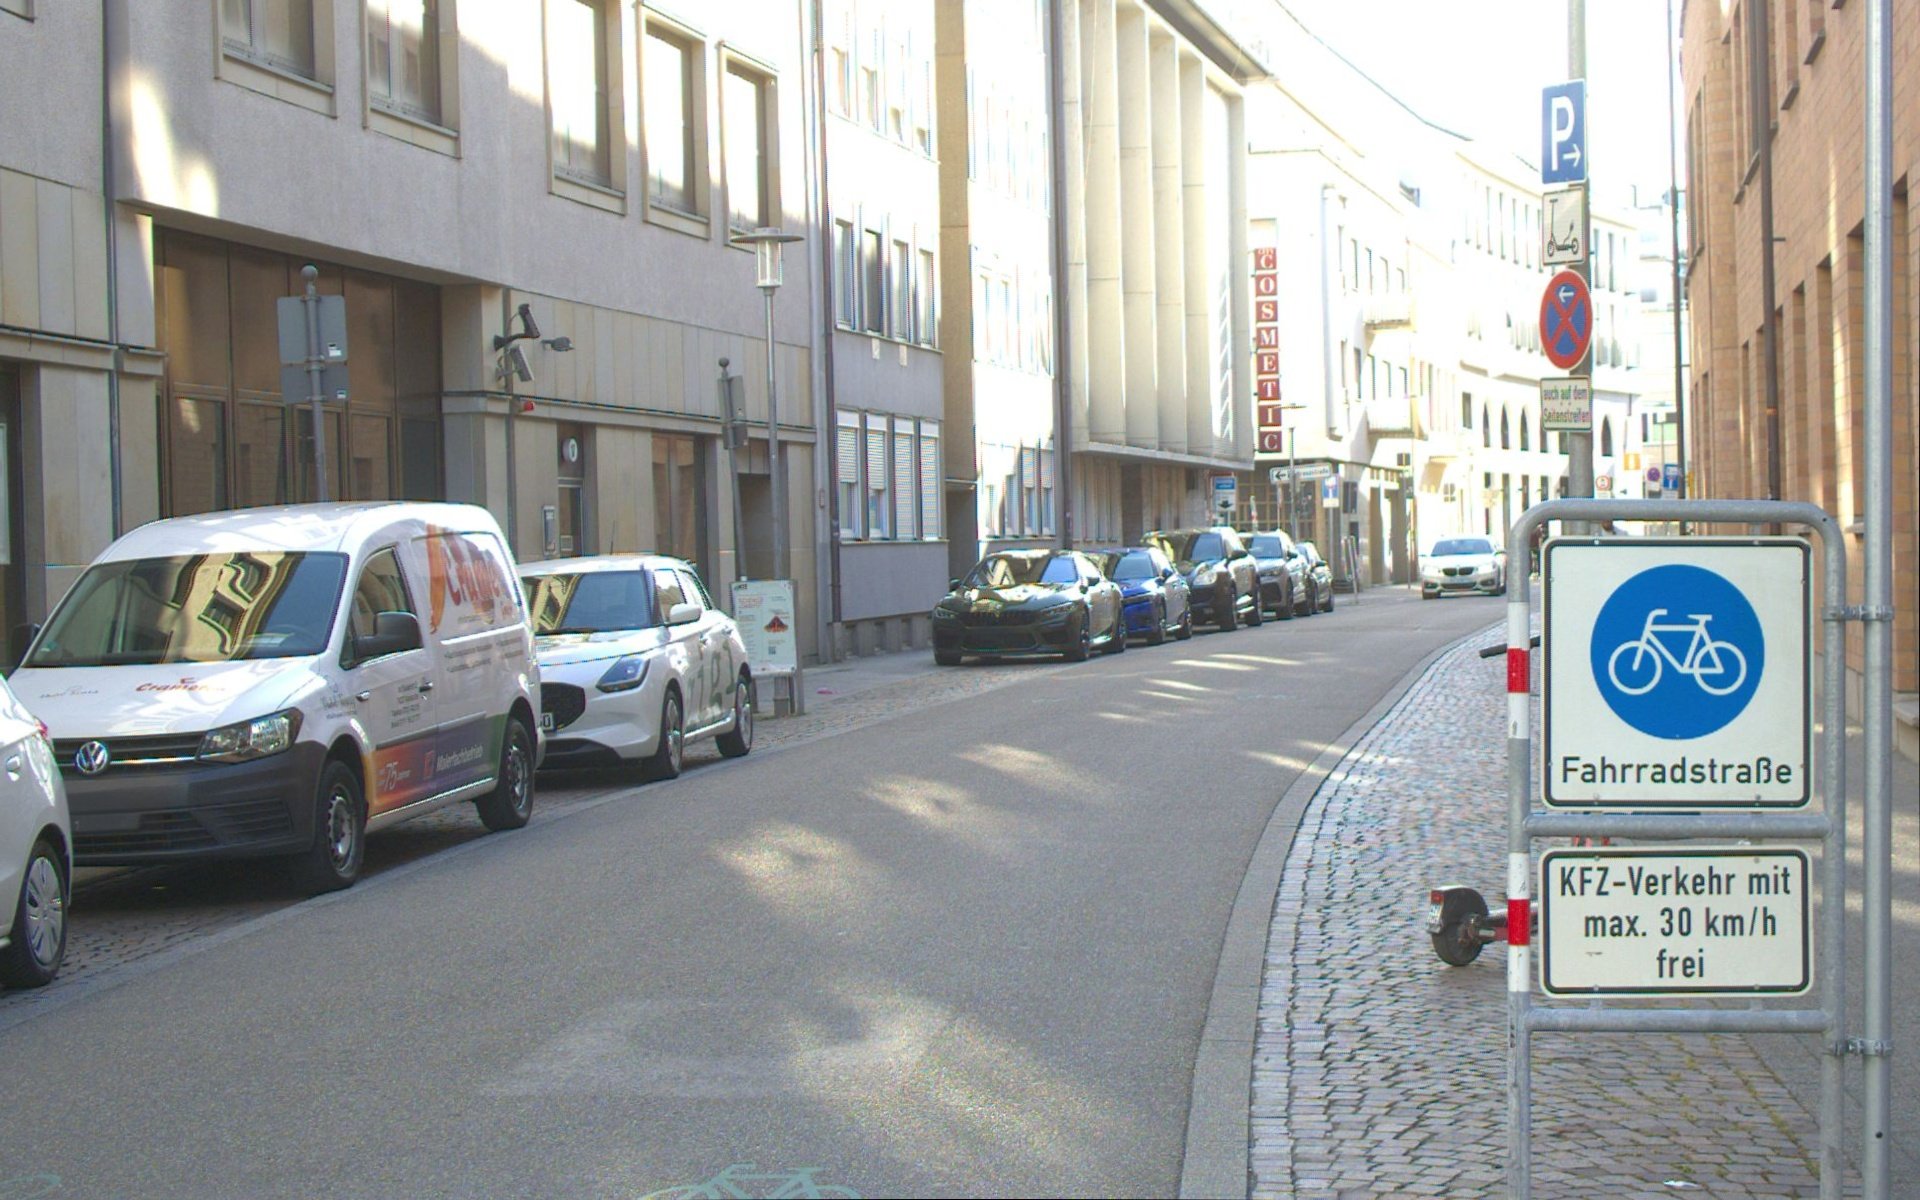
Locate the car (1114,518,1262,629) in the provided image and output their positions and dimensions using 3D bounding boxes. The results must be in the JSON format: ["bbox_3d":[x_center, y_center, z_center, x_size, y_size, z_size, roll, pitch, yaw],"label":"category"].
[{"bbox_3d":[3.746,-0.462,55.864,1.891,1.670,4.552,-2,1,10],"label":"car"}]

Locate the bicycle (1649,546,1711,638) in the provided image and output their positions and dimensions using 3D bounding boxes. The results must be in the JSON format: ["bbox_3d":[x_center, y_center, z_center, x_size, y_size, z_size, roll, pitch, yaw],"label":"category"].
[{"bbox_3d":[9.245,-0.112,44.187,0.550,1.099,1.982,-4,1,8],"label":"bicycle"}]

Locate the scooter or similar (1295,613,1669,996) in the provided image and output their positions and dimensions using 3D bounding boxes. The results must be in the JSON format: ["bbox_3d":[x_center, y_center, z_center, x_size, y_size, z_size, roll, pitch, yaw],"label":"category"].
[{"bbox_3d":[1.863,0.686,12.163,1.415,1.231,0.538,-2,2,-43],"label":"scooter or similar"}]

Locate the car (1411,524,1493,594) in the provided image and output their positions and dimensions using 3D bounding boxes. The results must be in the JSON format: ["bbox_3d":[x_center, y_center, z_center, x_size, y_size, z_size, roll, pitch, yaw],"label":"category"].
[{"bbox_3d":[11.329,-0.960,79.011,1.715,1.512,4.158,-2,1,10],"label":"car"}]

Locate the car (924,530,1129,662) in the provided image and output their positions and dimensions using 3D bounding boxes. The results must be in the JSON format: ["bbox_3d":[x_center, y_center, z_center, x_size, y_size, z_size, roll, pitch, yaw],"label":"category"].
[{"bbox_3d":[0.914,-0.095,43.886,1.891,1.525,4.727,-2,1,10],"label":"car"}]

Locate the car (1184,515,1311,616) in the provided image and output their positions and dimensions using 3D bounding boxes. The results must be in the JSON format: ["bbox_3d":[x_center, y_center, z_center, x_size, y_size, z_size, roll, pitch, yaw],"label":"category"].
[{"bbox_3d":[5.330,-0.663,63.255,1.891,1.736,4.389,-2,1,10],"label":"car"}]

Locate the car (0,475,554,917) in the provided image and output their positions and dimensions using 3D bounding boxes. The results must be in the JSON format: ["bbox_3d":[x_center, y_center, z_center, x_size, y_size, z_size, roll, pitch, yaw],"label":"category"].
[{"bbox_3d":[-3.592,0.376,17.184,1.900,1.851,4.732,-3,1,8],"label":"car"}]

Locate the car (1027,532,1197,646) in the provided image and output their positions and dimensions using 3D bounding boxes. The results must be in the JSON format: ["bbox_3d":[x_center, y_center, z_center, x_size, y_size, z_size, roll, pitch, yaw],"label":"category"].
[{"bbox_3d":[2.267,-0.195,50.066,1.891,1.525,4.338,-2,1,10],"label":"car"}]

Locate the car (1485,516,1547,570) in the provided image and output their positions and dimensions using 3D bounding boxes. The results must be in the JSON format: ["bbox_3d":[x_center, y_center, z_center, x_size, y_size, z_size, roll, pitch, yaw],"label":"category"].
[{"bbox_3d":[16.639,-1.717,102.742,1.640,1.512,4.158,-2,1,11],"label":"car"}]

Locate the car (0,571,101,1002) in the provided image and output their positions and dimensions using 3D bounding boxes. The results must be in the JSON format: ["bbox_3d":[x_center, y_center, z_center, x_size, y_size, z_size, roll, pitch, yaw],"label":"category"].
[{"bbox_3d":[-4.279,0.714,11.284,1.737,1.487,3.799,-3,1,3],"label":"car"}]

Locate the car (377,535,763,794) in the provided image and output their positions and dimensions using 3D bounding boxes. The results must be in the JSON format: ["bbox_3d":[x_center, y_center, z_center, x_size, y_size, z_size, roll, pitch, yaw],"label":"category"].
[{"bbox_3d":[-2.565,0.377,23.468,1.670,1.517,3.775,-3,1,8],"label":"car"}]

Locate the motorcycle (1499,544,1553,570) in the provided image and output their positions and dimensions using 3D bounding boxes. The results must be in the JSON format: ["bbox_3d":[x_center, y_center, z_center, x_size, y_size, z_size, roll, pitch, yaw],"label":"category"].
[{"bbox_3d":[18.879,-1.428,114.653,1.692,0.856,0.594,1,1,19],"label":"motorcycle"}]

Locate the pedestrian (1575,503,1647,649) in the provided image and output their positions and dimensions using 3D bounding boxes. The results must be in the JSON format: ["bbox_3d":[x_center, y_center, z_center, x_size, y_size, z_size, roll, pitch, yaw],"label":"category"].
[{"bbox_3d":[7.876,-0.299,41.629,0.760,1.710,0.821,-3,1,10],"label":"pedestrian"}]
